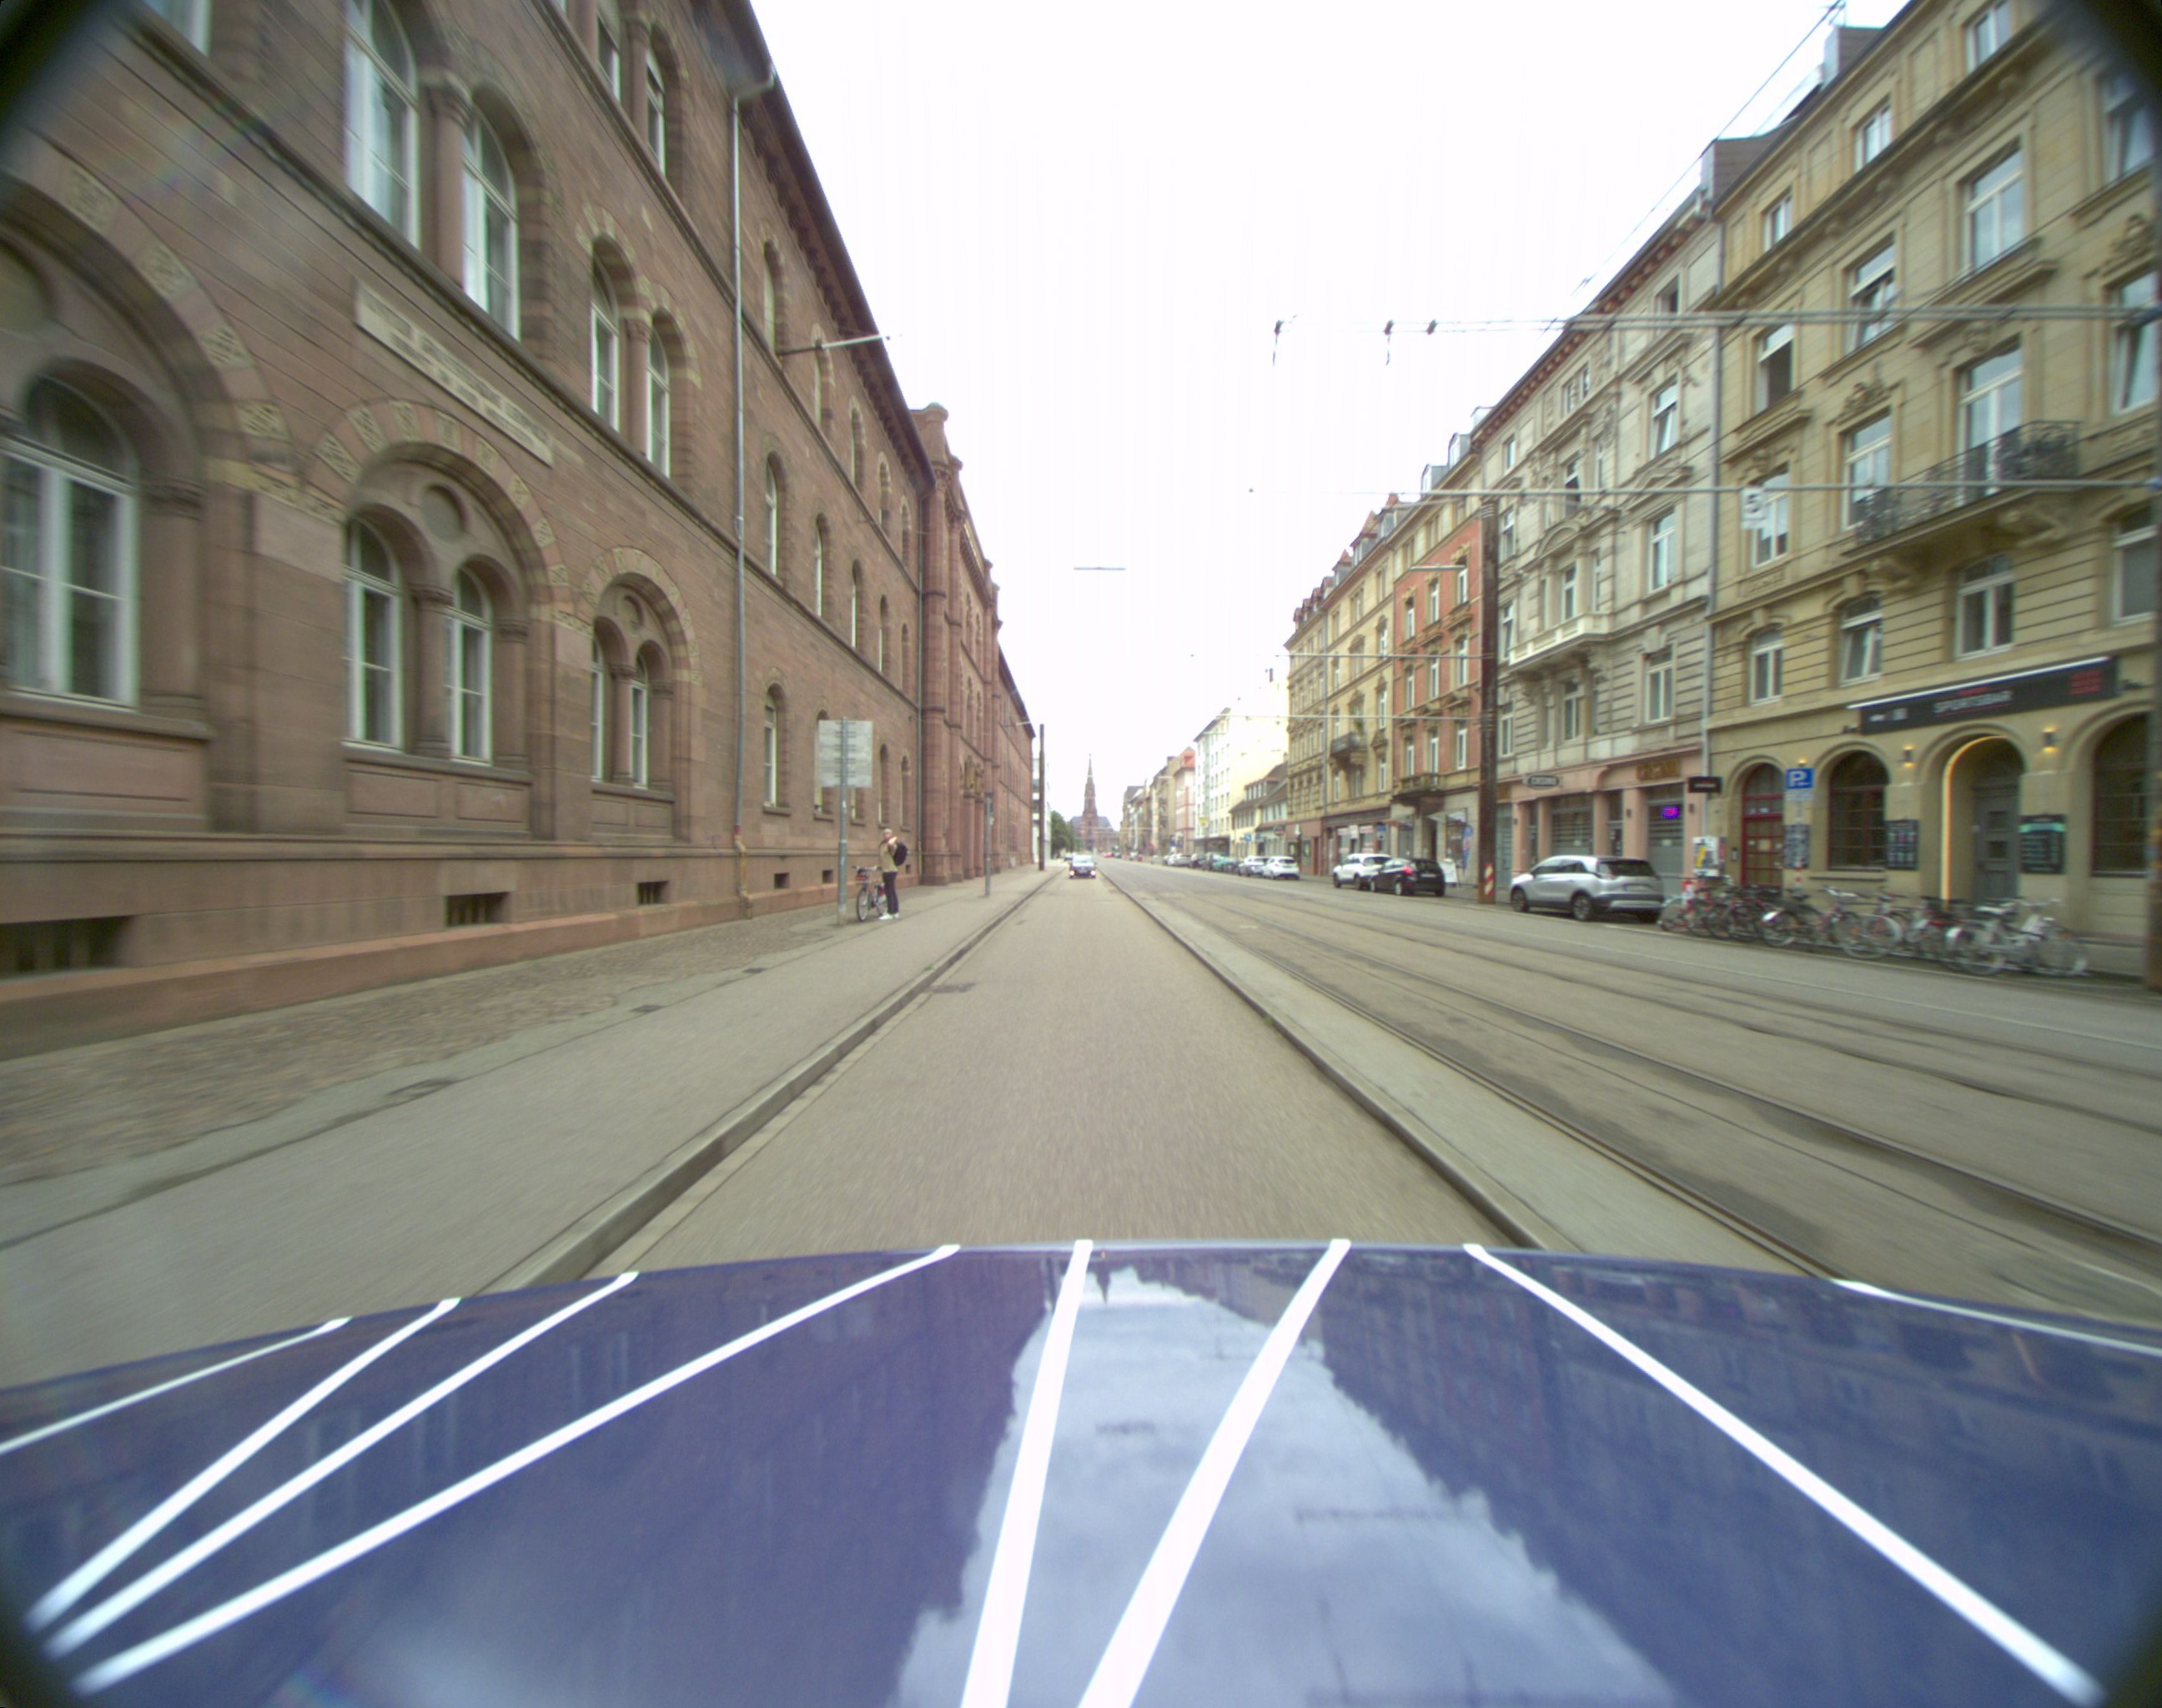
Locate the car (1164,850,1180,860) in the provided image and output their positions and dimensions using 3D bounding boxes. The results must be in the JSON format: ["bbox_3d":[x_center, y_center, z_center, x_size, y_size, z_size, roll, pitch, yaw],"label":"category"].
[{"bbox_3d":[12.758,0.109,106.718,1.733,1.336,3.246,-1,1,0],"label":"car"}]

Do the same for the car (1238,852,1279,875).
[{"bbox_3d":[12.397,0.628,53.312,1.829,1.512,4.545,1,0,1],"label":"car"}]

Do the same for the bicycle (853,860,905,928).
[{"bbox_3d":[-4.175,0.790,15.852,0.446,1.269,2.226,2,1,0],"label":"bicycle"}]

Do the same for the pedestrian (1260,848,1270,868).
[{"bbox_3d":[15.347,0.327,63.351,0.657,1.702,0.753,-1,1,0],"label":"pedestrian"}]

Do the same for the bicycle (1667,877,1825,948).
[{"bbox_3d":[12.512,1.085,14.341,2.288,1.196,0.705,2,1,1],"label":"bicycle"}]

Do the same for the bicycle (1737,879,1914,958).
[{"bbox_3d":[12.735,1.091,13.042,2.288,1.196,0.705,2,1,1],"label":"bicycle"}]

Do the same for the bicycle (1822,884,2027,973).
[{"bbox_3d":[12.777,1.111,11.552,2.288,1.196,0.666,2,1,1],"label":"bicycle"}]

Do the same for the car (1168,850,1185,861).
[{"bbox_3d":[12.648,0.163,100.588,1.733,1.443,3.826,-1,1,0],"label":"car"}]

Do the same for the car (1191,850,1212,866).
[{"bbox_3d":[13.034,0.371,82.695,1.704,1.662,4.181,-1,1,1],"label":"car"}]

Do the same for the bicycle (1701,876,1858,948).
[{"bbox_3d":[12.541,1.034,13.676,2.288,1.197,0.540,-1,2,1],"label":"bicycle"}]

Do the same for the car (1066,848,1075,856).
[{"bbox_3d":[-2.166,-0.490,163.854,1.835,1.652,3.999,-1,1,0],"label":"car"}]

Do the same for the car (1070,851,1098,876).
[{"bbox_3d":[0.167,0.588,48.967,1.747,1.538,3.649,0,1,-1],"label":"car"}]

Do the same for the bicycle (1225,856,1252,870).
[{"bbox_3d":[12.690,0.737,61.264,2.044,1.091,0.557,-1,1,1],"label":"bicycle"}]

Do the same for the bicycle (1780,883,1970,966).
[{"bbox_3d":[12.777,1.120,12.266,2.288,1.196,0.666,2,1,1],"label":"bicycle"}]

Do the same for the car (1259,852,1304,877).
[{"bbox_3d":[12.786,0.645,48.646,1.748,1.456,4.045,1,0,0],"label":"car"}]

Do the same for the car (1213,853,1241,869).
[{"bbox_3d":[13.021,0.604,67.920,1.651,1.373,3.435,1,0,-3],"label":"car"}]

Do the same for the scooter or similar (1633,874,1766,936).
[{"bbox_3d":[12.718,1.042,15.660,2.288,1.196,0.547,-1,1,1],"label":"scooter or similar"}]

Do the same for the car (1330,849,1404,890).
[{"bbox_3d":[12.717,0.647,34.099,1.748,1.663,4.045,1,0,0],"label":"car"}]

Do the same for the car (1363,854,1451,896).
[{"bbox_3d":[12.561,0.758,29.525,1.748,1.480,3.920,1,0,1],"label":"car"}]

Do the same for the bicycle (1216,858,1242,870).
[{"bbox_3d":[12.311,0.813,63.222,2.044,0.928,0.557,-1,1,2],"label":"bicycle"}]

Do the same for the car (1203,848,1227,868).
[{"bbox_3d":[12.785,0.362,72.641,1.707,1.747,3.919,1,1,2],"label":"car"}]

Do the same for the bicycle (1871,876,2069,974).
[{"bbox_3d":[12.727,1.007,10.899,2.288,1.287,0.448,-2,1,1],"label":"bicycle"}]

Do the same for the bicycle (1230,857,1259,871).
[{"bbox_3d":[12.645,0.780,58.711,2.139,1.091,0.557,-1,1,1],"label":"bicycle"}]

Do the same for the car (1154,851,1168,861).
[{"bbox_3d":[13.055,0.291,124.803,1.867,1.553,3.999,2,1,0],"label":"car"}]

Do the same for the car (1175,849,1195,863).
[{"bbox_3d":[12.851,0.218,93.967,1.928,1.722,3.826,-1,1,0],"label":"car"}]

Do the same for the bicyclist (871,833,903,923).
[{"bbox_3d":[-4.025,0.493,15.775,0.530,1.847,0.450,1,1,0],"label":"bicyclist"}]

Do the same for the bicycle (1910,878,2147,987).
[{"bbox_3d":[12.780,1.036,10.297,2.288,1.322,0.666,2,1,1],"label":"bicycle"}]

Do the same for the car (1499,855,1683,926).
[{"bbox_3d":[12.608,0.822,19.172,1.748,1.524,4.225,1,0,0],"label":"car"}]

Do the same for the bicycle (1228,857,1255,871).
[{"bbox_3d":[12.665,0.799,60.032,2.044,1.091,0.557,-1,1,1],"label":"bicycle"}]

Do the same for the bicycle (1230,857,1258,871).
[{"bbox_3d":[12.720,0.789,59.371,2.044,1.091,0.557,-1,1,1],"label":"bicycle"}]

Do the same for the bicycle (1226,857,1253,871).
[{"bbox_3d":[12.669,0.787,60.646,2.044,1.091,0.557,-1,1,1],"label":"bicycle"}]

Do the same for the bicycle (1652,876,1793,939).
[{"bbox_3d":[12.660,1.051,15.025,2.288,1.196,0.547,0,1,1],"label":"bicycle"}]
